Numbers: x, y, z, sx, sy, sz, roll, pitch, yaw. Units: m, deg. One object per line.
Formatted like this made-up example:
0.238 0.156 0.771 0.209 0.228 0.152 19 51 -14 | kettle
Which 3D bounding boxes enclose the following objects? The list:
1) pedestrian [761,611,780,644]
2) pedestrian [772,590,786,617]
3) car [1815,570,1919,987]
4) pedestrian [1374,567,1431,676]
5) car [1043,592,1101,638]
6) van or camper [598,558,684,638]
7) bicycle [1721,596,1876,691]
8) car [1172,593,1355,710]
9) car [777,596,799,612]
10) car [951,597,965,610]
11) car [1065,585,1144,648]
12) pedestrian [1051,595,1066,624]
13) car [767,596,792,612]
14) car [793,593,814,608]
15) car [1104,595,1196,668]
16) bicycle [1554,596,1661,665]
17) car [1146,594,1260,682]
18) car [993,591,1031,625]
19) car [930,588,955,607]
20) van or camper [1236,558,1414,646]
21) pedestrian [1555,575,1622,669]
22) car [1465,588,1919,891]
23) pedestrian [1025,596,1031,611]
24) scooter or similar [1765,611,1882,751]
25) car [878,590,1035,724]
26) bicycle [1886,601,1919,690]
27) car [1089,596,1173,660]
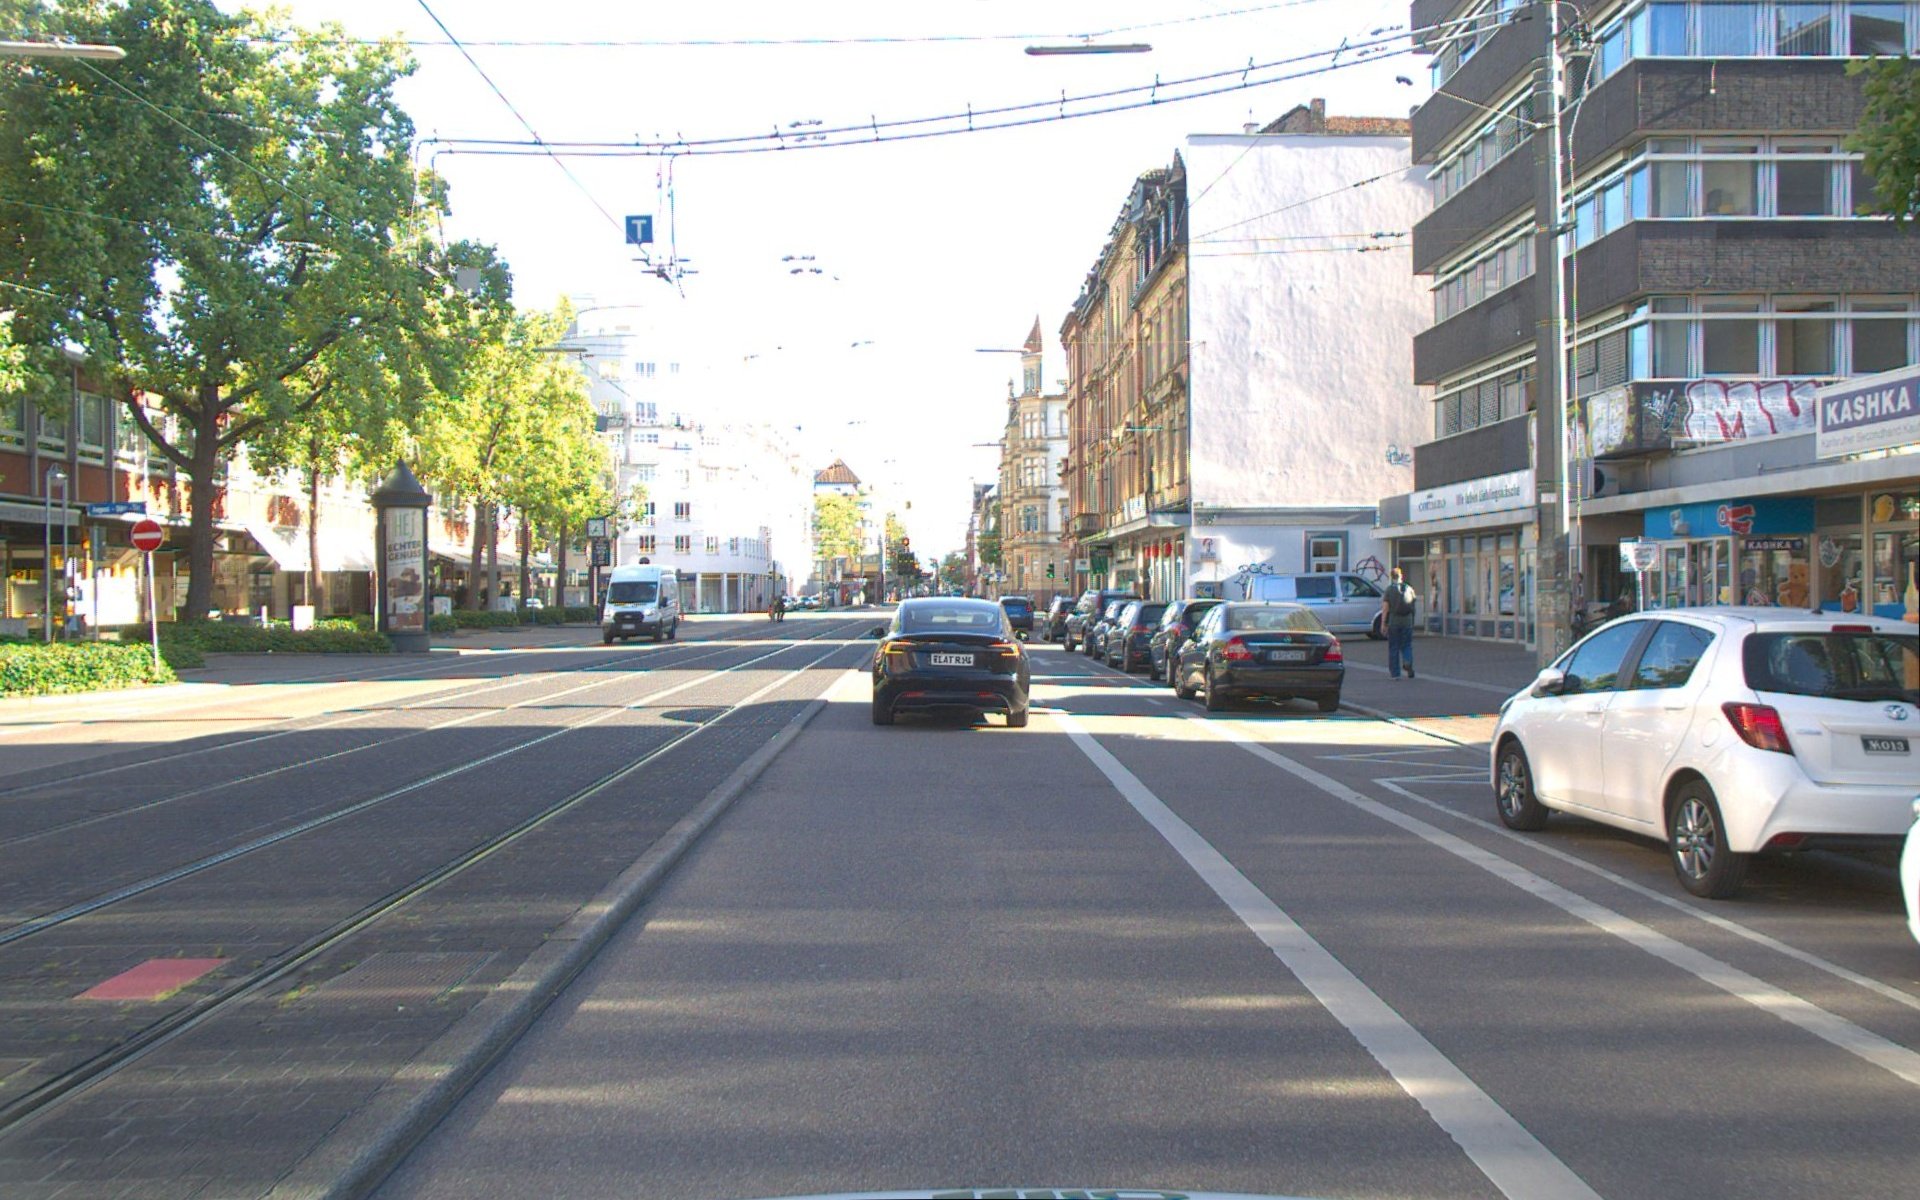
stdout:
-10.234 1.492 89.325 0.826 1.725 0.797 1 0 6 | pedestrian
-10.061 0.188 92.164 0.687 1.528 0.795 0 -1 0 | pedestrian
4.513 0.697 4.890 1.511 1.597 4.441 1 0 -3 | car
7.634 0.365 28.562 0.707 1.844 0.889 -1 -1 -1 | pedestrian
3.763 0.508 55.962 1.680 1.498 3.719 -1 0 0 | car
-11.338 -0.040 59.282 2.097 2.700 6.876 -1 0 -3 | van or camper
10.649 0.549 21.041 1.646 1.160 0.579 -1 -1 2 | bicycle
4.193 0.676 23.555 1.676 1.482 4.549 1 0 -1 | car
-17.846 0.460 171.656 1.953 1.602 3.999 -1 0 -1 | car
-0.220 0.433 220.718 1.808 1.620 4.000 -1 0 0 | car
3.910 0.470 45.380 1.792 1.657 4.094 0 -1 0 | car
5.670 0.528 95.320 0.734 1.645 0.705 -1 -1 -3 | pedestrian
-17.000 0.395 156.007 1.953 1.392 3.999 -1 0 -1 | car
-17.064 0.042 180.768 1.953 1.521 3.999 -1 0 -1 | car
3.992 0.668 35.226 1.432 1.457 3.812 0 -1 -2 | car
12.094 0.556 30.863 2.155 1.240 0.795 0 -1 -34 | bicycle
4.307 0.680 29.691 1.546 1.472 3.309 0 -1 0 | car
2.321 0.349 73.936 1.561 1.458 3.686 -1 0 0 | car
-1.602 -0.195 148.023 1.955 1.552 3.995 1 -1 -5 | car
10.283 0.066 46.857 4.547 2.173 1.988 -3 -1 3 | van or camper
12.023 0.408 31.633 1.130 1.759 1.043 -1 0 24 | pedestrian
4.587 0.721 10.140 1.570 1.469 3.882 2 -1 -4 | car
5.621 0.300 136.981 0.432 1.242 0.389 -1 0 -2 | pedestrian
8.203 0.742 15.756 0.526 1.256 1.360 -1 0 7 | scooter or similar
-0.096 0.614 19.795 1.685 1.430 3.708 1 0 -2 | car
13.490 0.566 21.980 2.160 1.144 0.591 -2 0 -10 | bicycle
4.128 0.694 40.348 1.547 1.469 3.912 0 -1 -2 | car
